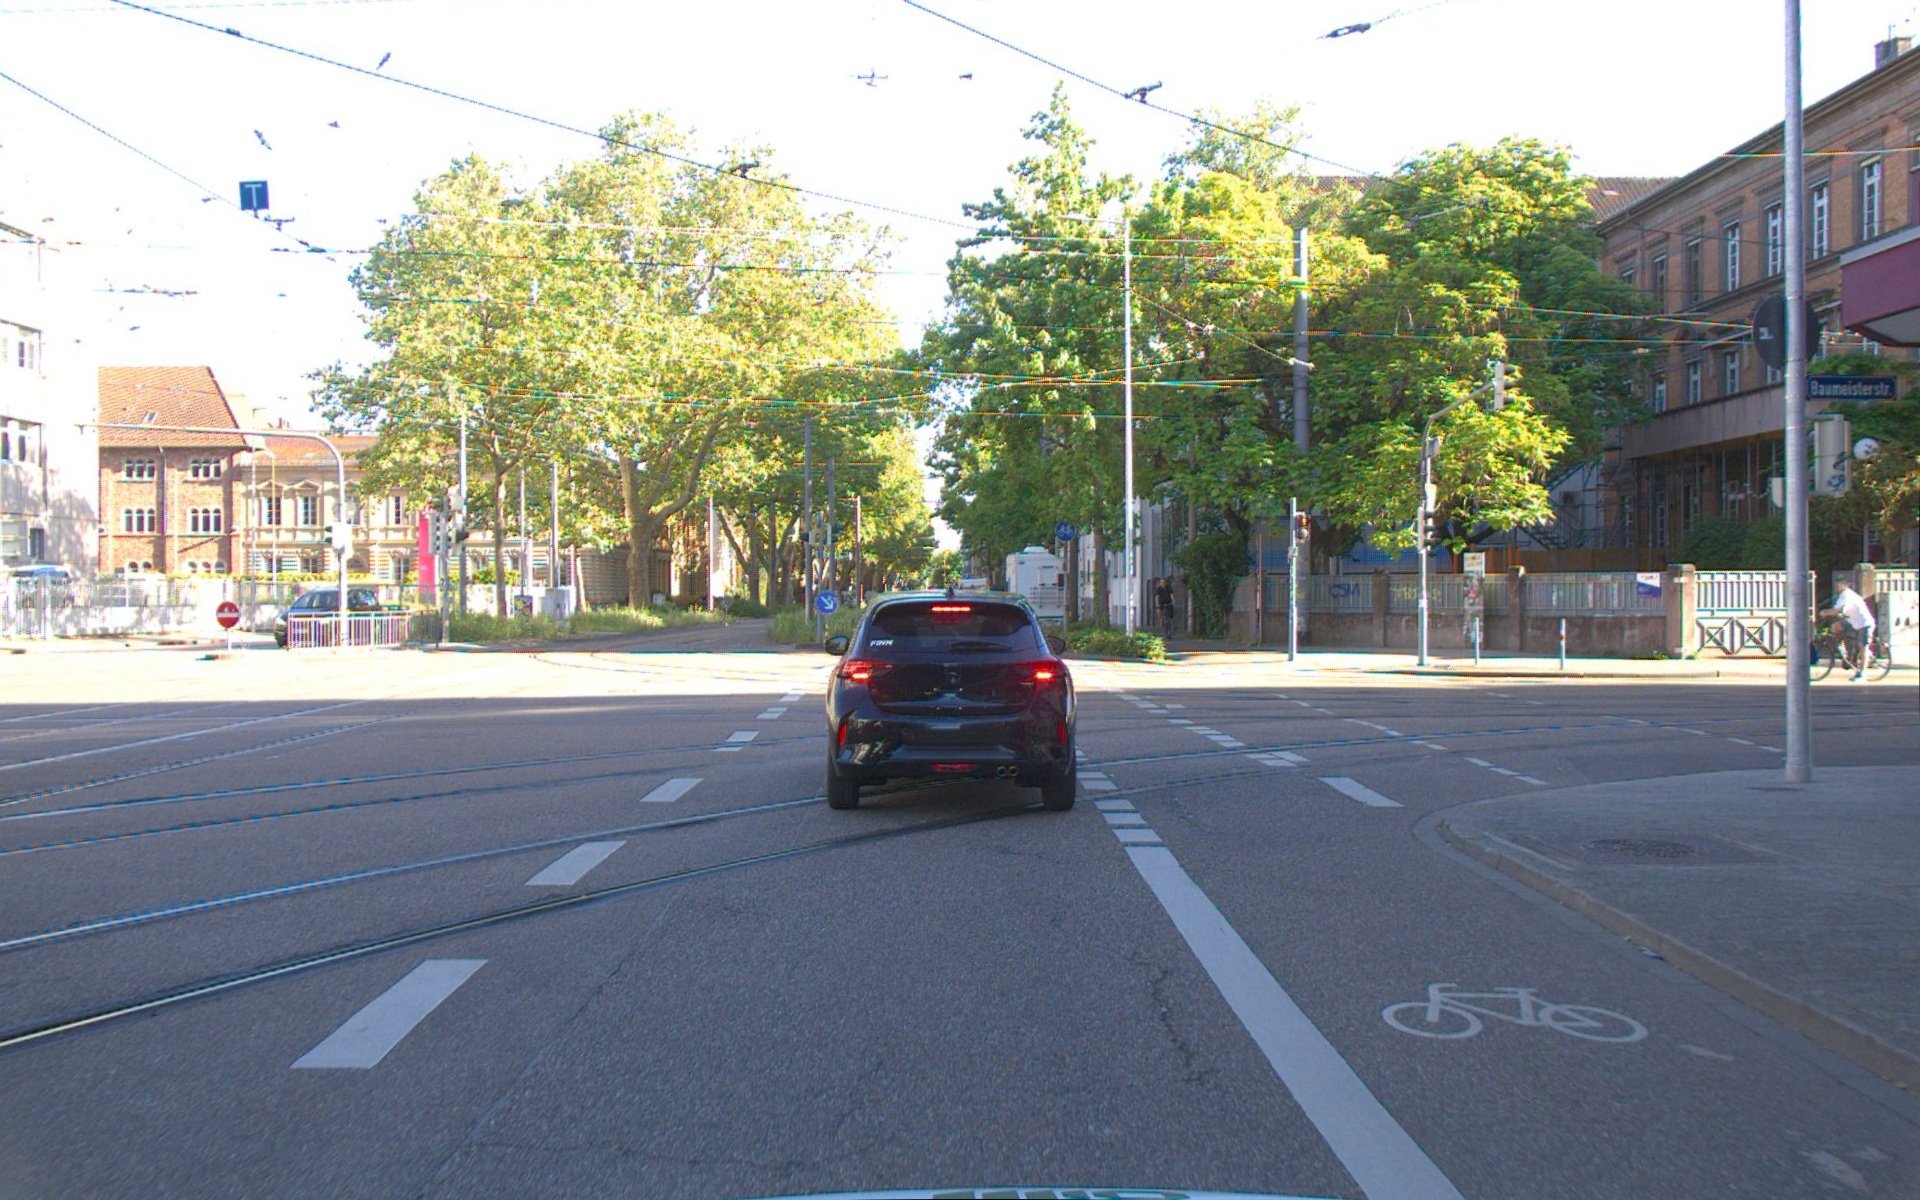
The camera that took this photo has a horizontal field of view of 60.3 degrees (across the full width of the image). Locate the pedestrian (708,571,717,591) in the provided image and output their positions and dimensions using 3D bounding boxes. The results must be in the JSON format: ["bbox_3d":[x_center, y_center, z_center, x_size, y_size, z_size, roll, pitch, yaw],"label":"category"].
[{"bbox_3d":[-21.085,-1.611,140.872,0.645,1.650,0.615,2,0,-2],"label":"pedestrian"}]

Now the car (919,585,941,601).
[{"bbox_3d":[-2.722,-0.652,150.743,1.866,1.450,4.216,0,1,0],"label":"car"}]

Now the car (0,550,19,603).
[{"bbox_3d":[-37.800,-0.867,62.130,1.951,2.049,4.728,0,1,4],"label":"car"}]

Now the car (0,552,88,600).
[{"bbox_3d":[-34.996,-0.891,62.050,1.951,1.733,4.380,0,1,4],"label":"car"}]

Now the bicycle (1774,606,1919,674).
[{"bbox_3d":[15.795,0.699,29.472,2.282,1.138,0.843,0,1,-12],"label":"bicycle"}]

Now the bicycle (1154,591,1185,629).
[{"bbox_3d":[6.228,0.292,49.110,0.626,1.089,1.952,0,1,16],"label":"bicycle"}]

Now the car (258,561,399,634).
[{"bbox_3d":[-17.908,-0.120,47.128,1.951,1.981,4.427,0,1,6],"label":"car"}]

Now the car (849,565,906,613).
[{"bbox_3d":[-3.046,-0.428,61.792,1.953,1.655,4.469,2,1,-1],"label":"car"}]

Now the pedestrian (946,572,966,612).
[{"bbox_3d":[-0.213,-0.418,85.925,1.015,2.059,1.212,0,1,-2],"label":"pedestrian"}]

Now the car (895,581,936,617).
[{"bbox_3d":[-2.053,-0.066,77.072,1.754,1.536,3.874,-2,1,0],"label":"car"}]

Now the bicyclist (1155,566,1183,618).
[{"bbox_3d":[6.207,-0.251,49.068,0.733,1.536,0.702,0,1,17],"label":"bicyclist"}]

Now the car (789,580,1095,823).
[{"bbox_3d":[-0.092,0.595,12.201,1.866,1.450,4.216,0,1,0],"label":"car"}]

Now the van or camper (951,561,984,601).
[{"bbox_3d":[0.610,-1.511,131.198,2.435,3.045,5.434,2,1,0],"label":"van or camper"}]

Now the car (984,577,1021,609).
[{"bbox_3d":[2.162,-0.398,84.602,1.754,1.536,3.874,-2,1,0],"label":"car"}]

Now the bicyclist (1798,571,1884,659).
[{"bbox_3d":[15.666,0.252,29.425,0.909,1.535,1.009,0,1,-12],"label":"bicyclist"}]

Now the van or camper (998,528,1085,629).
[{"bbox_3d":[2.752,-0.767,57.645,2.328,3.179,7.549,-3,1,-1],"label":"van or camper"}]

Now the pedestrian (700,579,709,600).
[{"bbox_3d":[-21.736,-0.897,140.871,0.605,1.763,0.596,2,0,-2],"label":"pedestrian"}]
